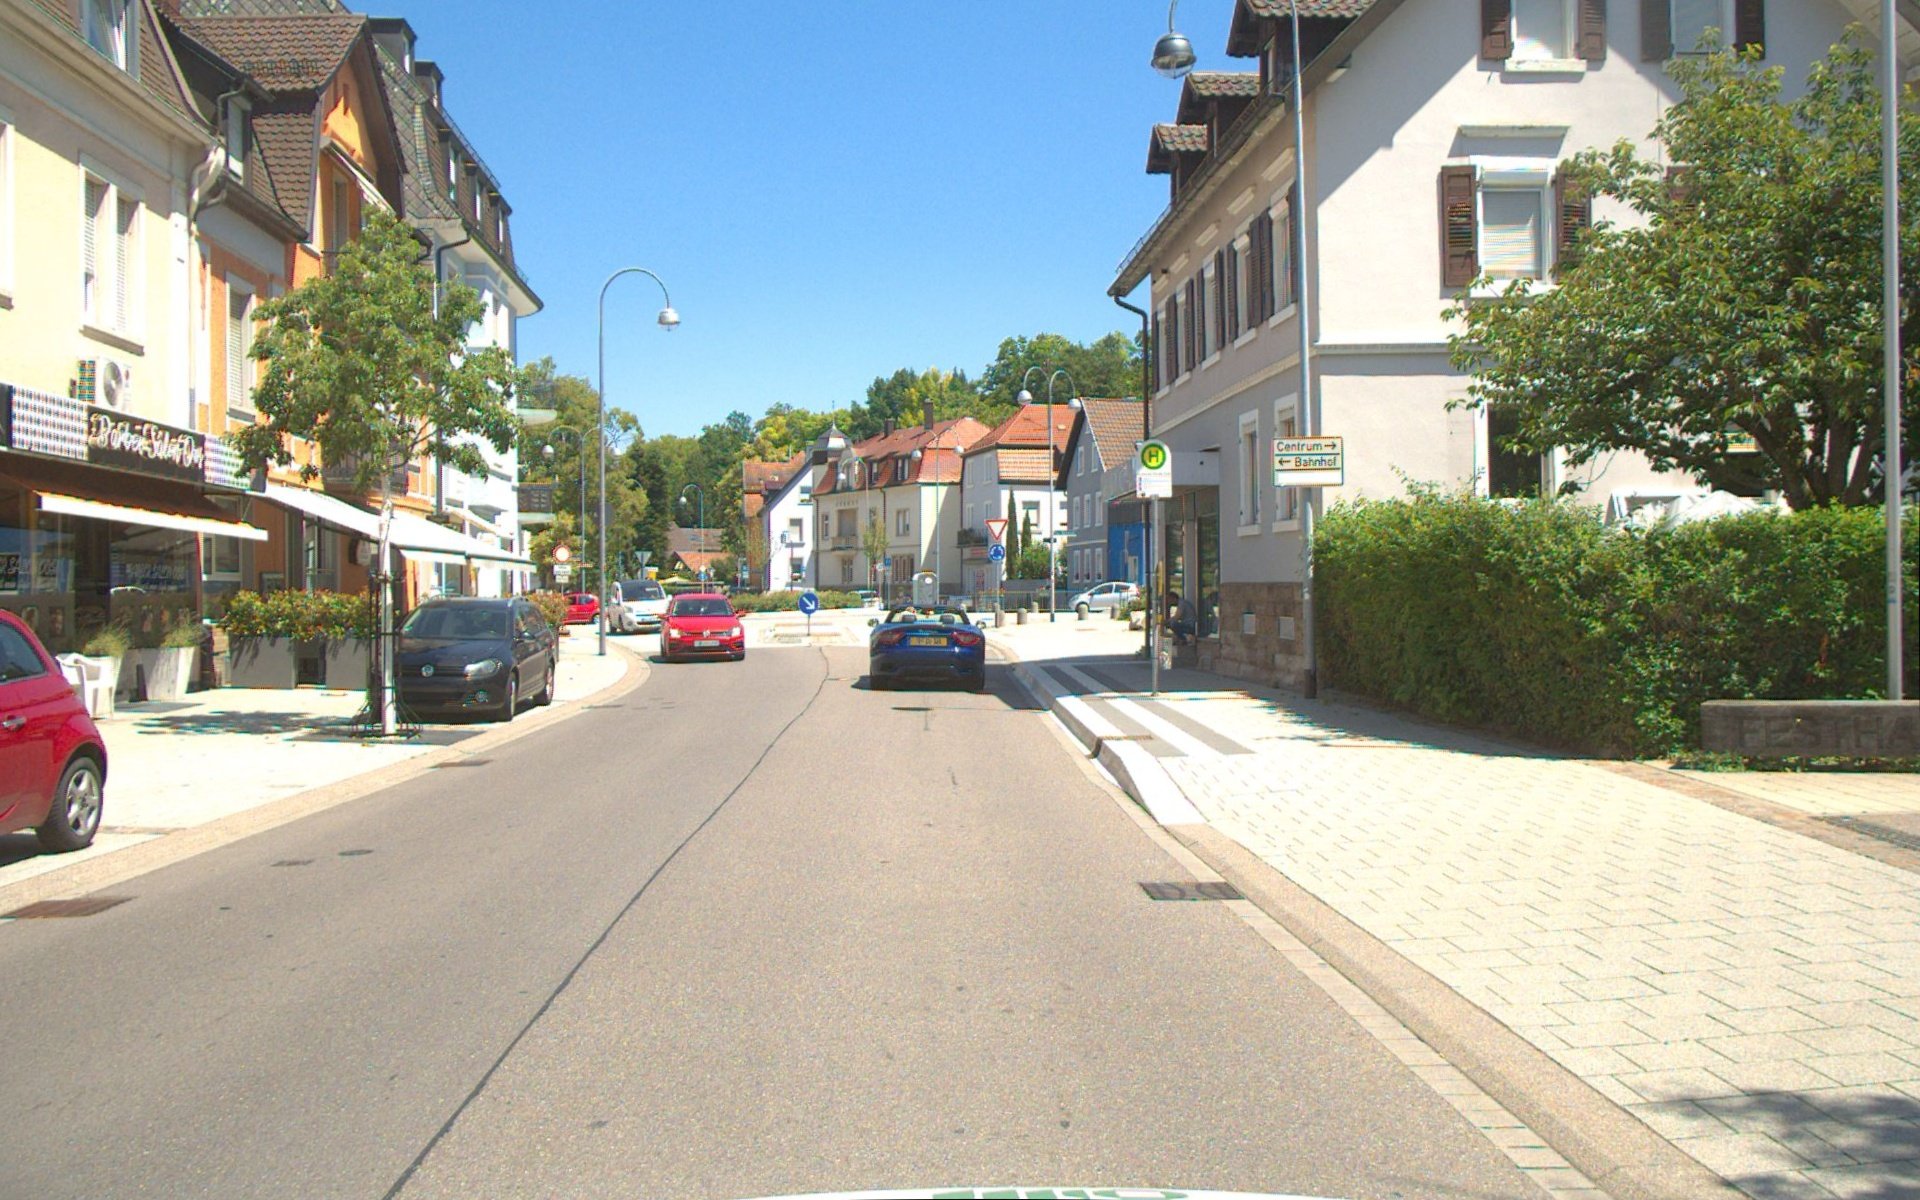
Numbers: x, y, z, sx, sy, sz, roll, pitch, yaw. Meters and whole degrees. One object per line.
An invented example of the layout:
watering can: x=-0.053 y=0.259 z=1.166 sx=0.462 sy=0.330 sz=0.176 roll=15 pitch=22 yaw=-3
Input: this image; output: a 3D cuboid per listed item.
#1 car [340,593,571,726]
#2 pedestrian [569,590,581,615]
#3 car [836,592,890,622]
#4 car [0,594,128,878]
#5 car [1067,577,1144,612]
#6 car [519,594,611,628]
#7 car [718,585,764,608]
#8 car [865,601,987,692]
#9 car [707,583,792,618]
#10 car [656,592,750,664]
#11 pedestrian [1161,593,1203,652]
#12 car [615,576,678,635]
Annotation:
car: x=-6.460 y=0.696 z=21.675 sx=1.877 sy=1.507 sz=4.334 roll=2 pitch=0 yaw=-4
pedestrian: x=-24.825 y=0.154 z=106.651 sx=0.523 sy=1.603 sz=0.563 roll=-1 pitch=0 yaw=8
car: x=-5.697 y=0.421 z=96.548 sx=1.892 sy=1.641 sz=4.119 roll=-1 pitch=-1 yaw=-22
car: x=-5.969 y=0.730 z=8.727 sx=1.529 sy=1.547 sz=3.513 roll=0 pitch=-1 yaw=-4
car: x=6.584 y=-0.239 z=75.158 sx=3.387 sy=1.476 sz=1.581 roll=-1 pitch=0 yaw=2
car: x=-17.241 y=0.460 z=72.181 sx=3.690 sy=1.355 sz=1.803 roll=-2 pitch=0 yaw=-20
car: x=-16.320 y=-0.225 z=123.164 sx=1.833 sy=1.616 sz=3.954 roll=-2 pitch=0 yaw=-33
car: x=-0.582 y=0.722 z=27.746 sx=1.872 sy=1.384 sz=4.284 roll=1 pitch=0 yaw=-2
car: x=-8.579 y=0.040 z=67.125 sx=1.972 sy=1.353 sz=4.159 roll=-2 pitch=0 yaw=-30
car: x=-5.784 y=0.596 z=37.617 sx=1.878 sy=1.451 sz=3.975 roll=-2 pitch=0 yaw=-6
pedestrian: x=3.947 y=0.393 z=29.451 sx=0.578 sy=1.017 sz=0.723 roll=-2 pitch=0 yaw=-4
car: x=-10.686 y=0.179 z=56.217 sx=1.959 sy=1.854 sz=4.402 roll=-2 pitch=0 yaw=-12
